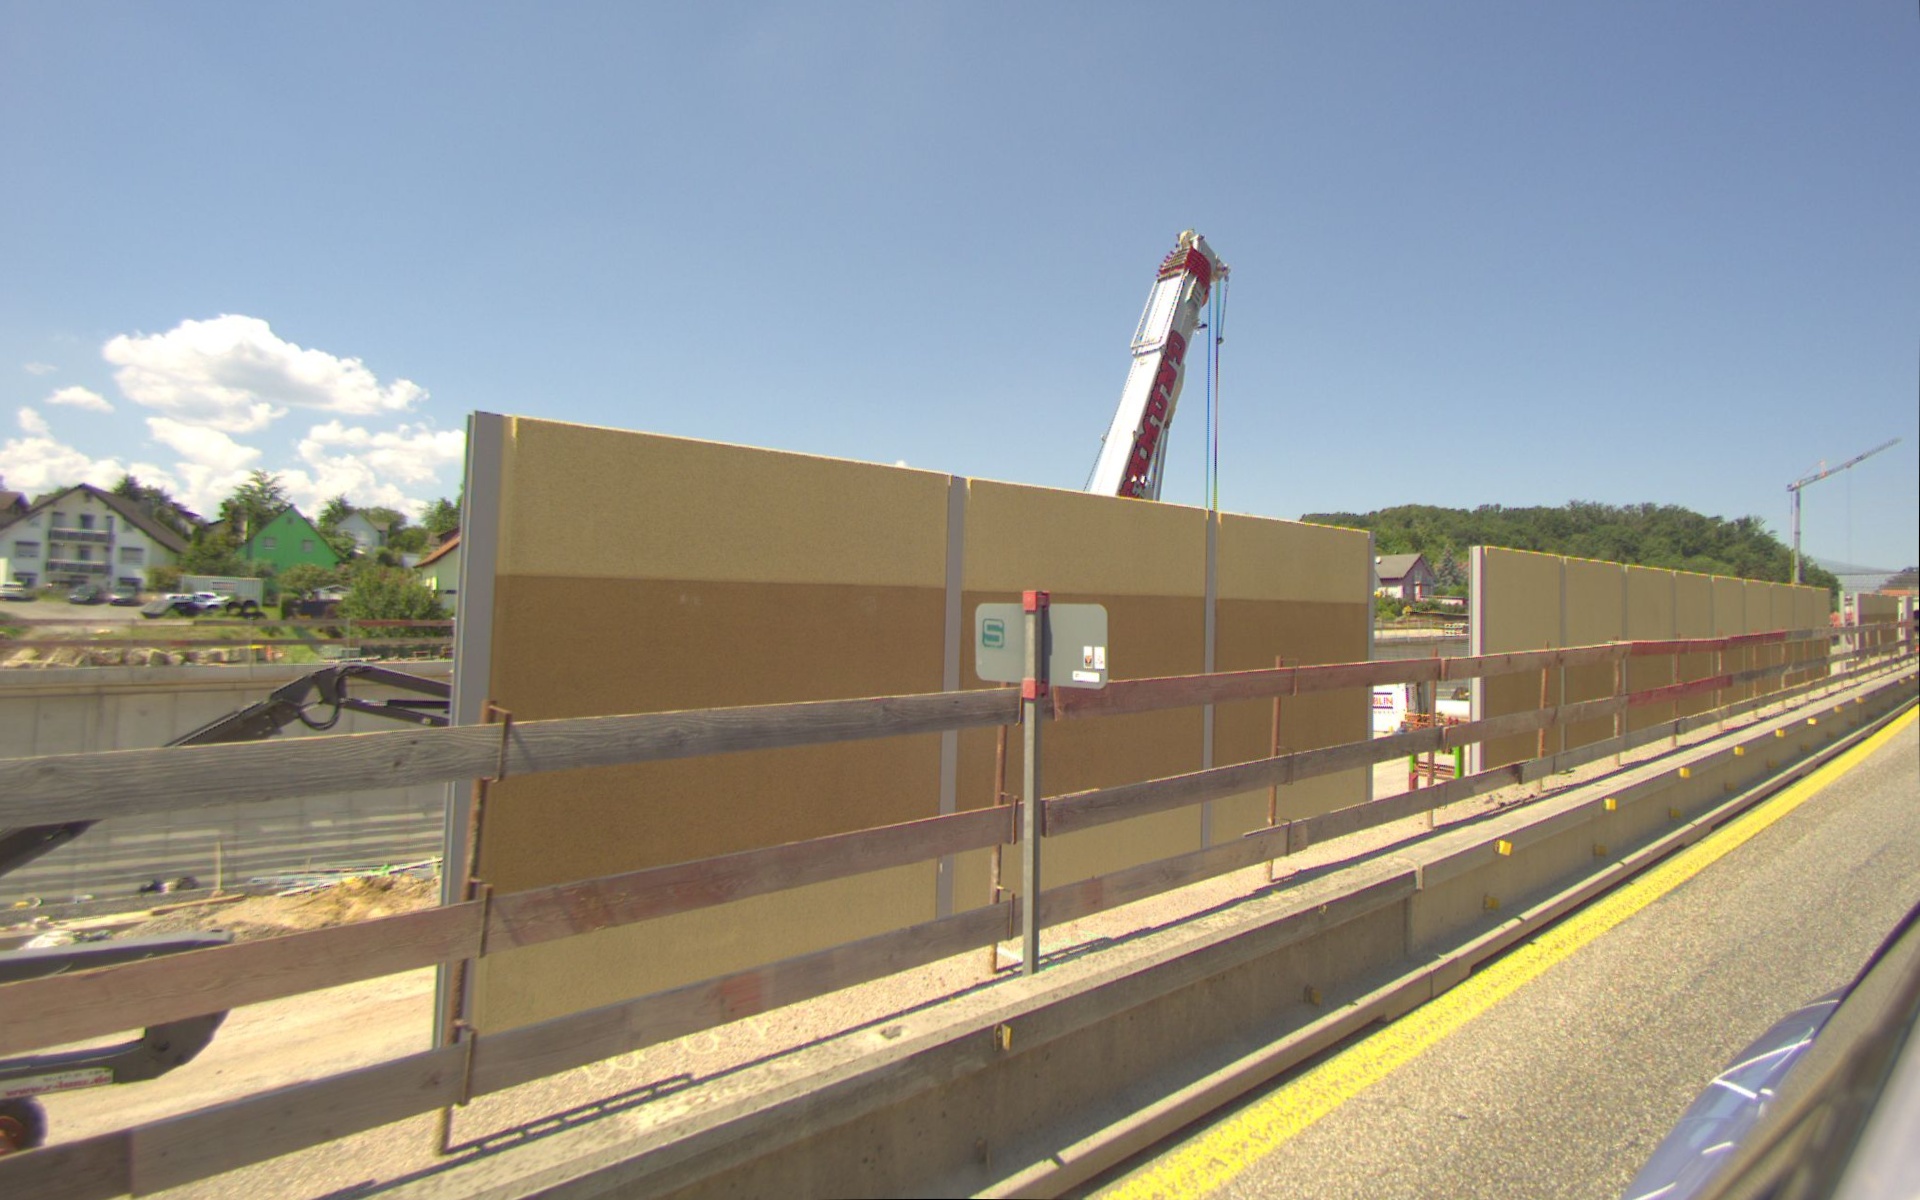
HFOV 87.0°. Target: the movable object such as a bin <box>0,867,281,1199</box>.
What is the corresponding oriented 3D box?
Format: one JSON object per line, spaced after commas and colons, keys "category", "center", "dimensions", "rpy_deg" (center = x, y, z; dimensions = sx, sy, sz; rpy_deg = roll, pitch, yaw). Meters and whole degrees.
{"category": "movable object such as a bin", "center": [-8.384, 3.969, 8.073], "dimensions": [4.735, 2.463, 2.172], "rpy_deg": [0, -2, -40]}
